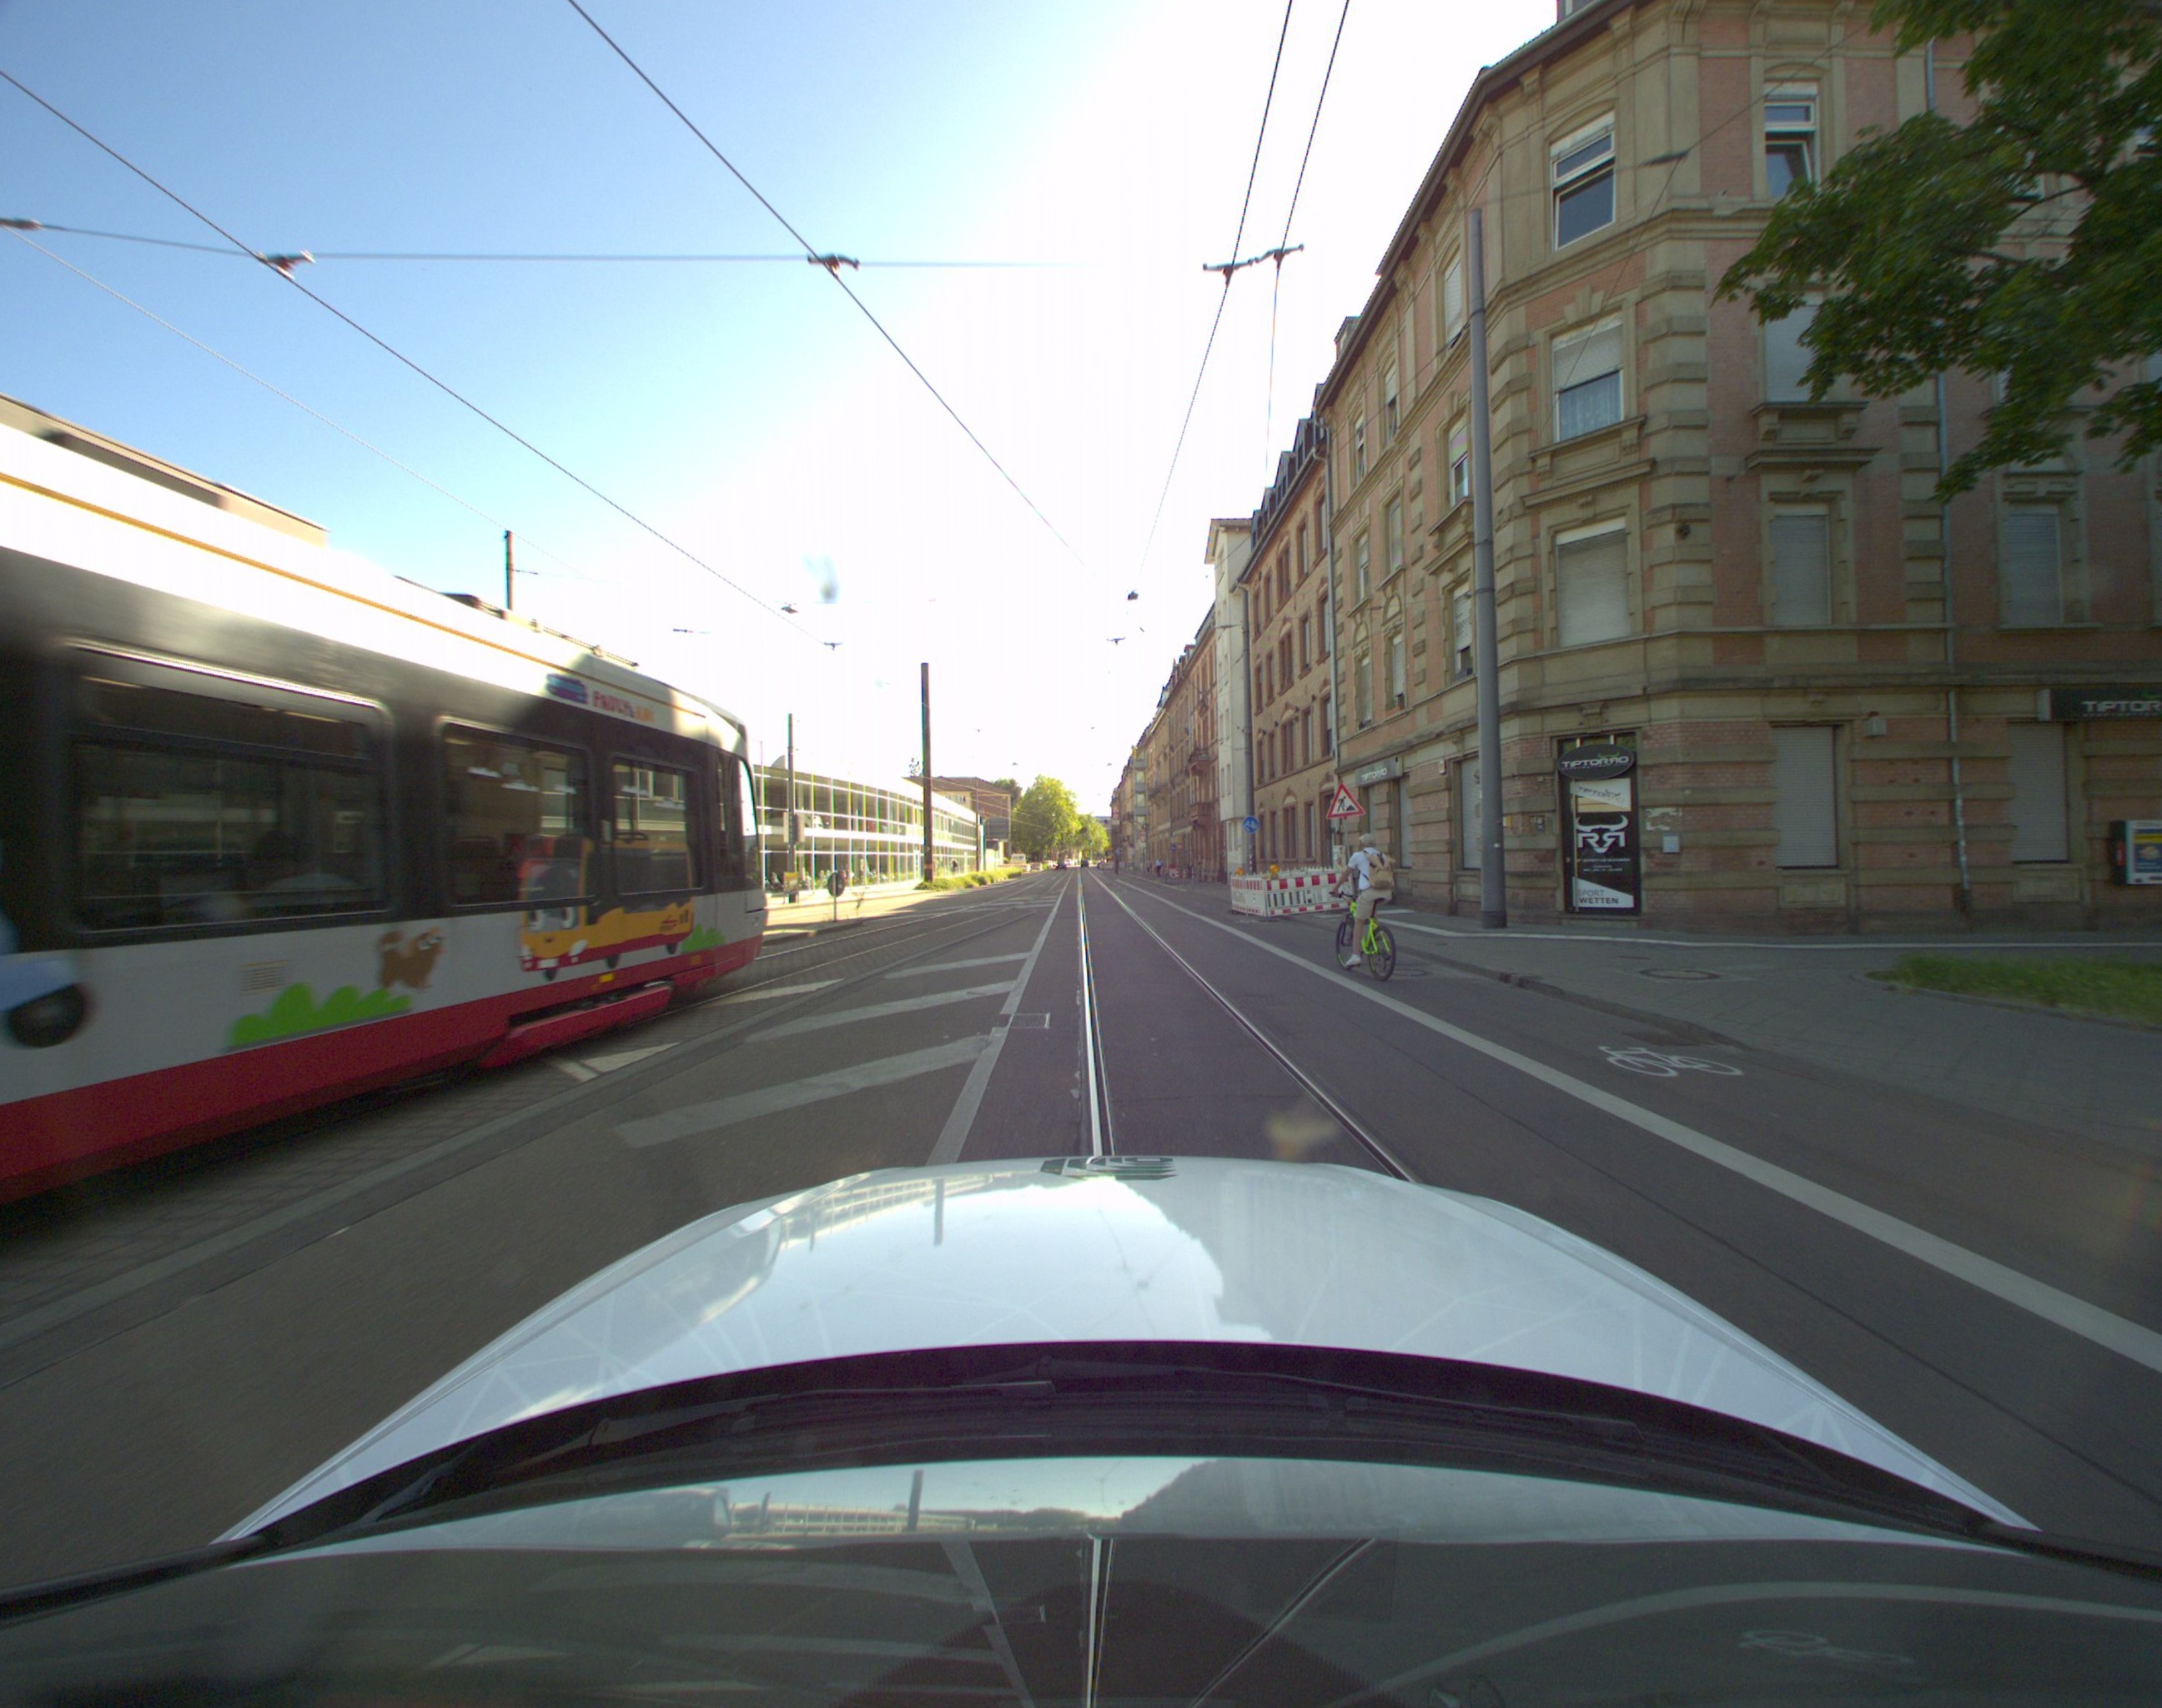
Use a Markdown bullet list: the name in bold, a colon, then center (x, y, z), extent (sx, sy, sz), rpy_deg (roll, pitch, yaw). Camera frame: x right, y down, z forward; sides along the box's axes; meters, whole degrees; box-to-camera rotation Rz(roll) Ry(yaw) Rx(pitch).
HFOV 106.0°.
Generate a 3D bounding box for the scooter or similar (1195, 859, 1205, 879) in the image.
- **scooter or similar**: center (7.566, 0.959, 51.899), extent (0.405, 1.211, 1.480), rpy_deg (-2, -1, 0)

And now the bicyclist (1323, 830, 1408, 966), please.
- **bicyclist**: center (3.702, 0.559, 10.674), extent (0.679, 1.683, 1.119), rpy_deg (1, -1, -3)

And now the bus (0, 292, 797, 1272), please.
- **bus**: center (-5.290, -0.245, 4.728), extent (2.829, 3.589, 11.278), rpy_deg (-1, 0, 3)

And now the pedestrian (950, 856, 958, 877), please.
- **pedestrian**: center (-10.898, 1.083, 70.035), extent (0.525, 1.765, 1.050), rpy_deg (1, -1, 0)

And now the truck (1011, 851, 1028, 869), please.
- **truck**: center (-9.634, 0.996, 128.657), extent (2.533, 2.830, 6.367), rpy_deg (1, -1, -4)

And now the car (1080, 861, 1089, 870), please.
- **car**: center (0.821, 2.487, 180.880), extent (1.987, 2.014, 3.999), rpy_deg (1, -1, 0)

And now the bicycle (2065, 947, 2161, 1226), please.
- **bicycle**: center (4.493, 0.936, 2.565), extent (0.385, 1.069, 1.932), rpy_deg (-1, 0, -2)

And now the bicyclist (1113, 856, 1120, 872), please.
- **bicyclist**: center (3.797, 1.077, 86.731), extent (0.665, 1.697, 1.042), rpy_deg (1, -1, -1)

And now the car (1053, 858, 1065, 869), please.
- **car**: center (-3.634, 1.599, 136.075), extent (1.753, 1.697, 4.144), rpy_deg (1, -1, 1)

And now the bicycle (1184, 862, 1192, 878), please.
- **bicycle**: center (7.622, 1.124, 58.002), extent (0.408, 1.121, 1.900), rpy_deg (-3, -1, 4)

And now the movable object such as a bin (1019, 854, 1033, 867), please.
- **movable object such as a bin**: center (-10.744, 1.278, 159.576), extent (2.489, 2.645, 5.982), rpy_deg (1, -1, -3)

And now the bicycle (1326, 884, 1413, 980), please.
- **bicycle**: center (3.780, 0.974, 10.804), extent (0.529, 1.117, 1.934), rpy_deg (1, -1, 2)

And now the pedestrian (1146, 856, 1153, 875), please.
- **pedestrian**: center (6.371, 1.043, 75.609), extent (0.550, 1.701, 0.474), rpy_deg (-3, -1, 5)

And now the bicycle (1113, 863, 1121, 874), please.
- **bicycle**: center (3.809, 1.571, 87.045), extent (0.679, 1.114, 2.706), rpy_deg (1, -1, 0)

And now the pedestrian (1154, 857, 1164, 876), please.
- **pedestrian**: center (6.745, 1.092, 70.379), extent (0.795, 1.605, 0.652), rpy_deg (-1, -1, 2)
